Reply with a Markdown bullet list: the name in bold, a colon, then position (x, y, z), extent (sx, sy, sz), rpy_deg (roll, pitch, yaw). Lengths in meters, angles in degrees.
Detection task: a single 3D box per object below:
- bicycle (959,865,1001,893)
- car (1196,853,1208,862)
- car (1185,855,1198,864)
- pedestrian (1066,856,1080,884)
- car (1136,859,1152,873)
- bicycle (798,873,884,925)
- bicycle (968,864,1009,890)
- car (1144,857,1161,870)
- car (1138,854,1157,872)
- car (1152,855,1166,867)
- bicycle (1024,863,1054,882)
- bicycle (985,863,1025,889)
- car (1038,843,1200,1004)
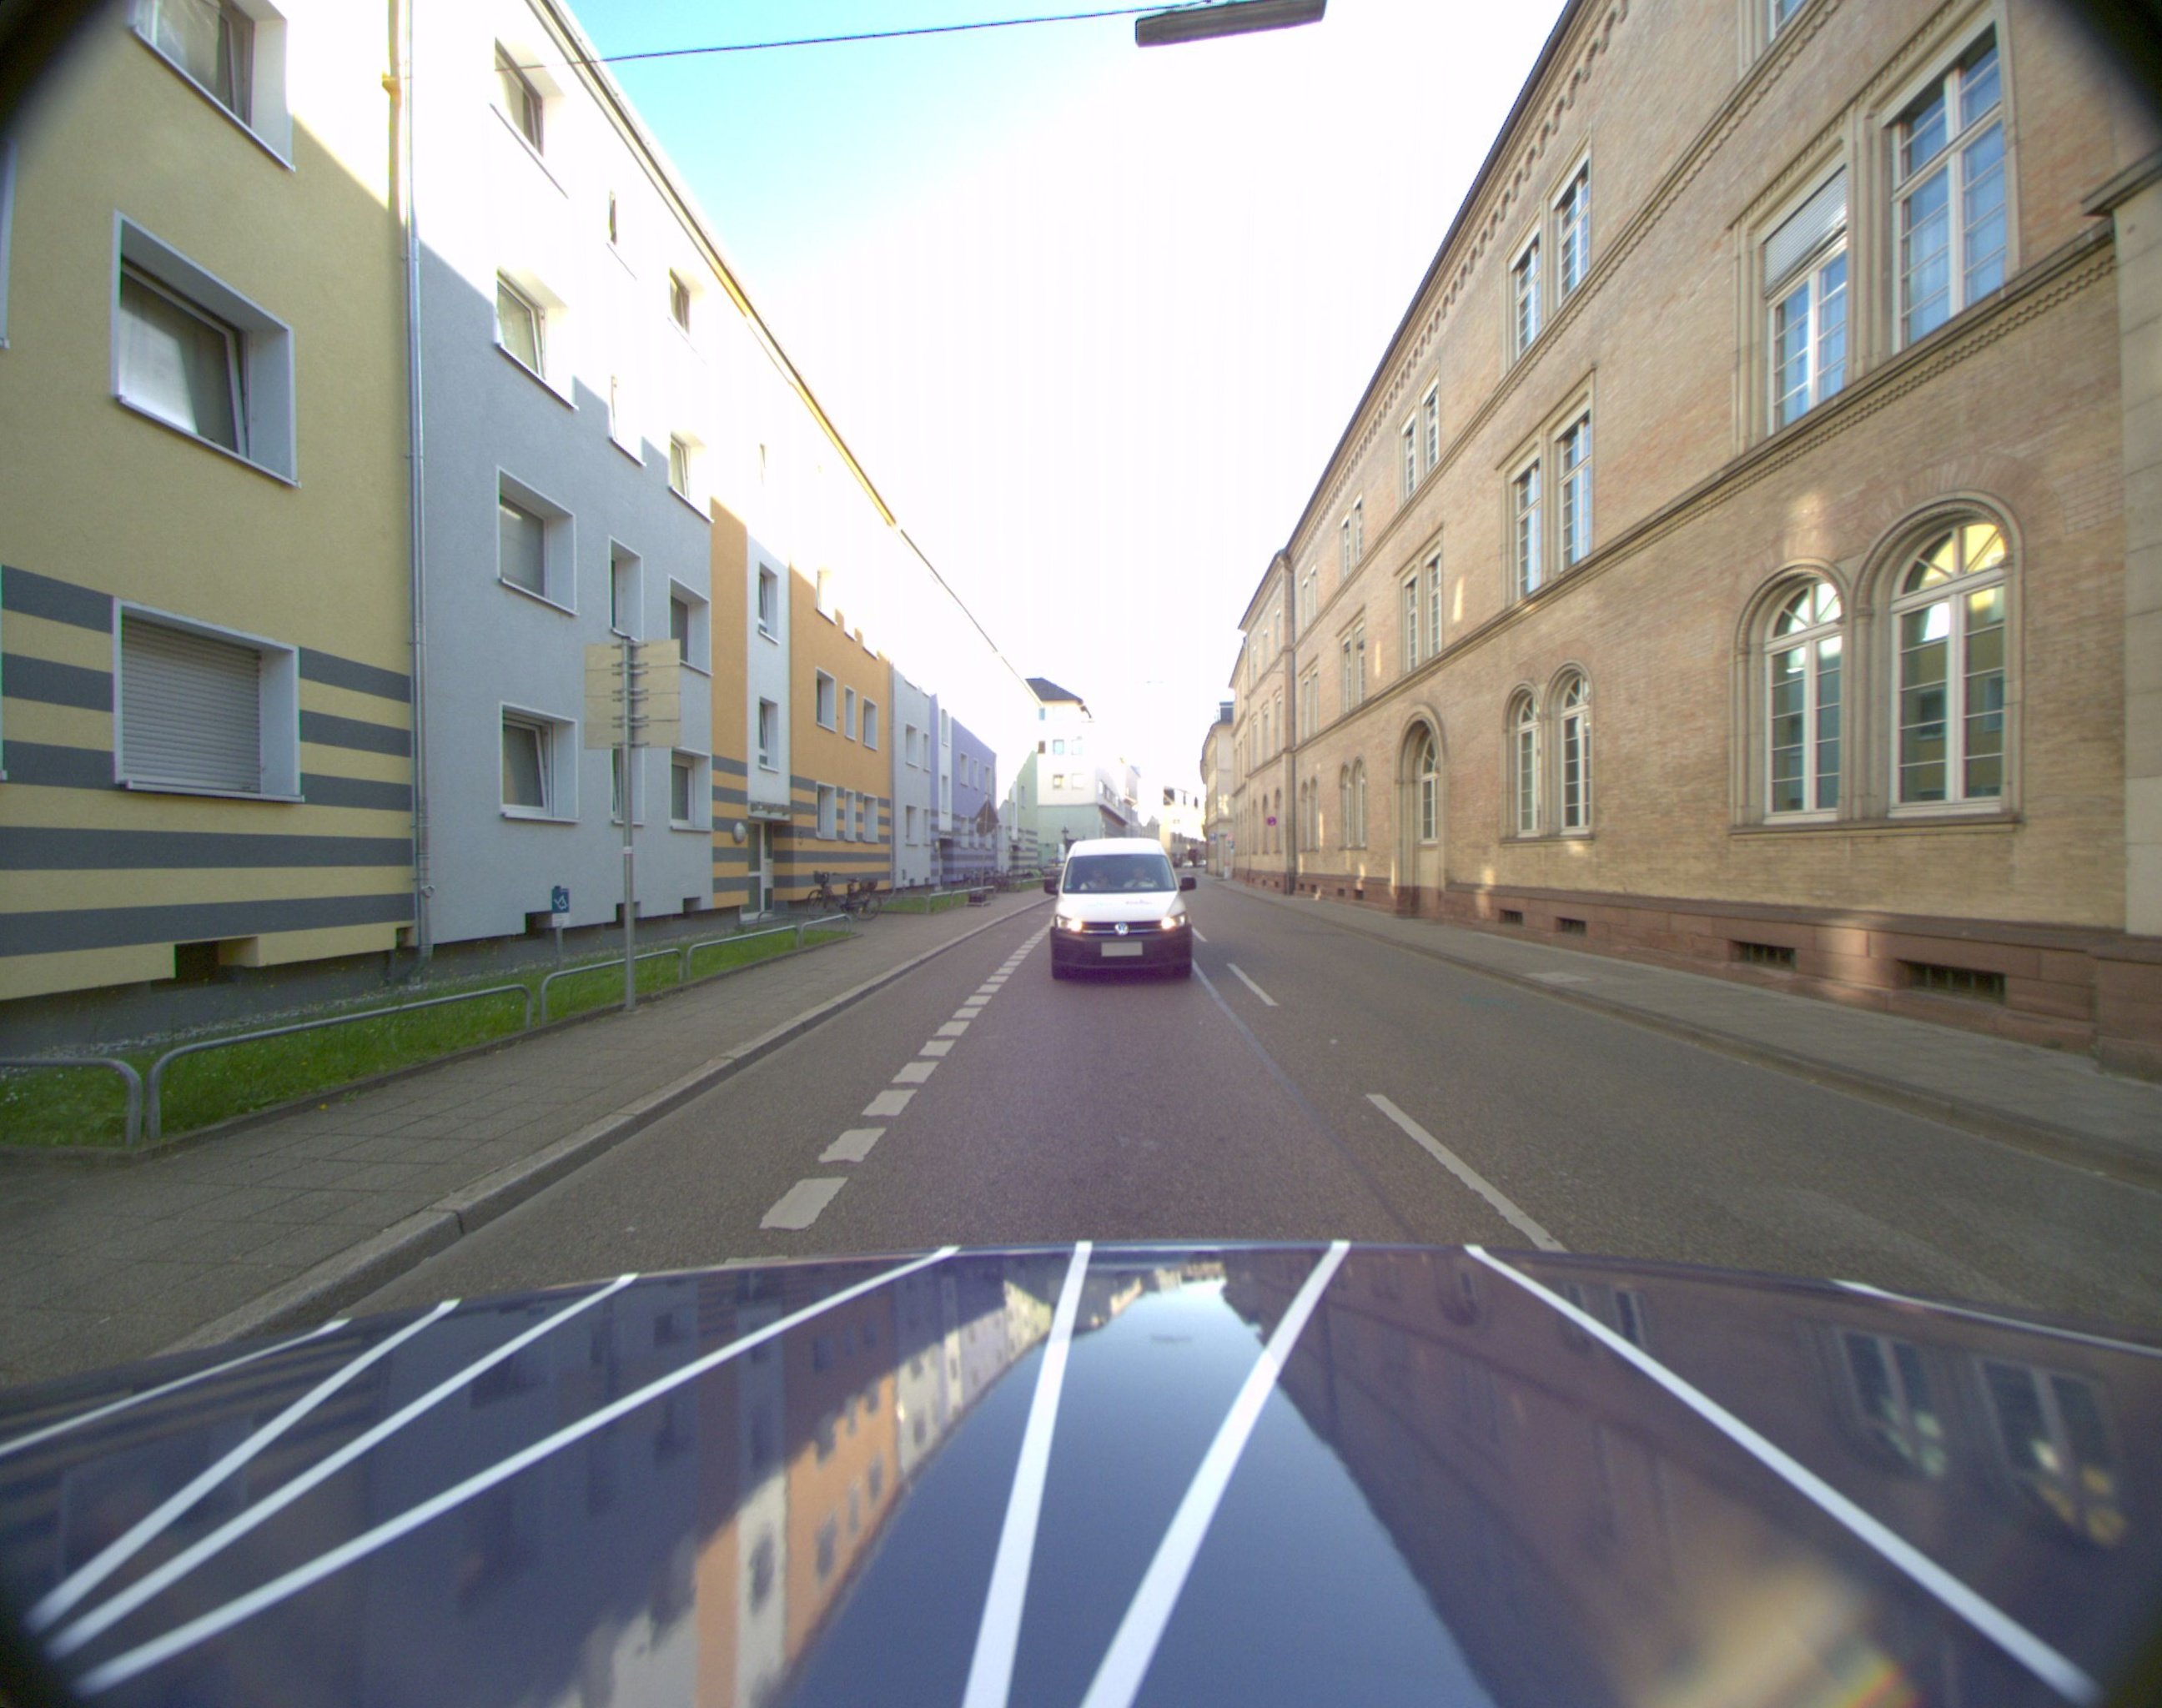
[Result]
- **bicycle**: position (-4.235, 1.030, 31.845), extent (1.676, 1.145, 0.484), rpy_deg (0, 0, 4)
- **car**: position (26.088, 0.725, 163.757), extent (1.996, 1.643, 4.233), rpy_deg (-2, 1, 17)
- **car**: position (22.106, 1.015, 152.026), extent (1.996, 1.643, 4.233), rpy_deg (-2, 1, 17)
- **pedestrian**: position (-0.452, 0.924, 44.973), extent (0.705, 1.627, 0.833), rpy_deg (2, 2, 5)
- **car**: position (8.377, 1.554, 100.957), extent (1.998, 1.643, 4.230), rpy_deg (-2, 1, 6)
- **bicycle**: position (-5.384, 1.003, 17.108), extent (1.780, 1.116, 0.484), rpy_deg (0, 0, -5)
- **bicycle**: position (-4.031, 1.002, 33.138), extent (1.676, 1.145, 0.484), rpy_deg (0, 0, 4)
- **car**: position (10.675, 1.383, 113.005), extent (1.997, 1.643, 4.231), rpy_deg (-2, 1, 10)
- **car**: position (9.412, 1.194, 107.093), extent (2.103, 2.264, 5.506), rpy_deg (-2, 1, 11)
- **car**: position (12.645, 1.136, 122.704), extent (1.997, 1.643, 4.231), rpy_deg (-2, 1, 9)
- **bicycle**: position (-2.516, 1.131, 46.055), extent (1.779, 1.145, 0.484), rpy_deg (0, 0, 0)
- **bicycle**: position (-3.372, 0.985, 33.684), extent (1.676, 1.145, 0.484), rpy_deg (0, 0, 4)
- **car**: position (0.473, 0.742, 11.065), extent (1.769, 1.761, 5.331), rpy_deg (-1, 1, 1)
